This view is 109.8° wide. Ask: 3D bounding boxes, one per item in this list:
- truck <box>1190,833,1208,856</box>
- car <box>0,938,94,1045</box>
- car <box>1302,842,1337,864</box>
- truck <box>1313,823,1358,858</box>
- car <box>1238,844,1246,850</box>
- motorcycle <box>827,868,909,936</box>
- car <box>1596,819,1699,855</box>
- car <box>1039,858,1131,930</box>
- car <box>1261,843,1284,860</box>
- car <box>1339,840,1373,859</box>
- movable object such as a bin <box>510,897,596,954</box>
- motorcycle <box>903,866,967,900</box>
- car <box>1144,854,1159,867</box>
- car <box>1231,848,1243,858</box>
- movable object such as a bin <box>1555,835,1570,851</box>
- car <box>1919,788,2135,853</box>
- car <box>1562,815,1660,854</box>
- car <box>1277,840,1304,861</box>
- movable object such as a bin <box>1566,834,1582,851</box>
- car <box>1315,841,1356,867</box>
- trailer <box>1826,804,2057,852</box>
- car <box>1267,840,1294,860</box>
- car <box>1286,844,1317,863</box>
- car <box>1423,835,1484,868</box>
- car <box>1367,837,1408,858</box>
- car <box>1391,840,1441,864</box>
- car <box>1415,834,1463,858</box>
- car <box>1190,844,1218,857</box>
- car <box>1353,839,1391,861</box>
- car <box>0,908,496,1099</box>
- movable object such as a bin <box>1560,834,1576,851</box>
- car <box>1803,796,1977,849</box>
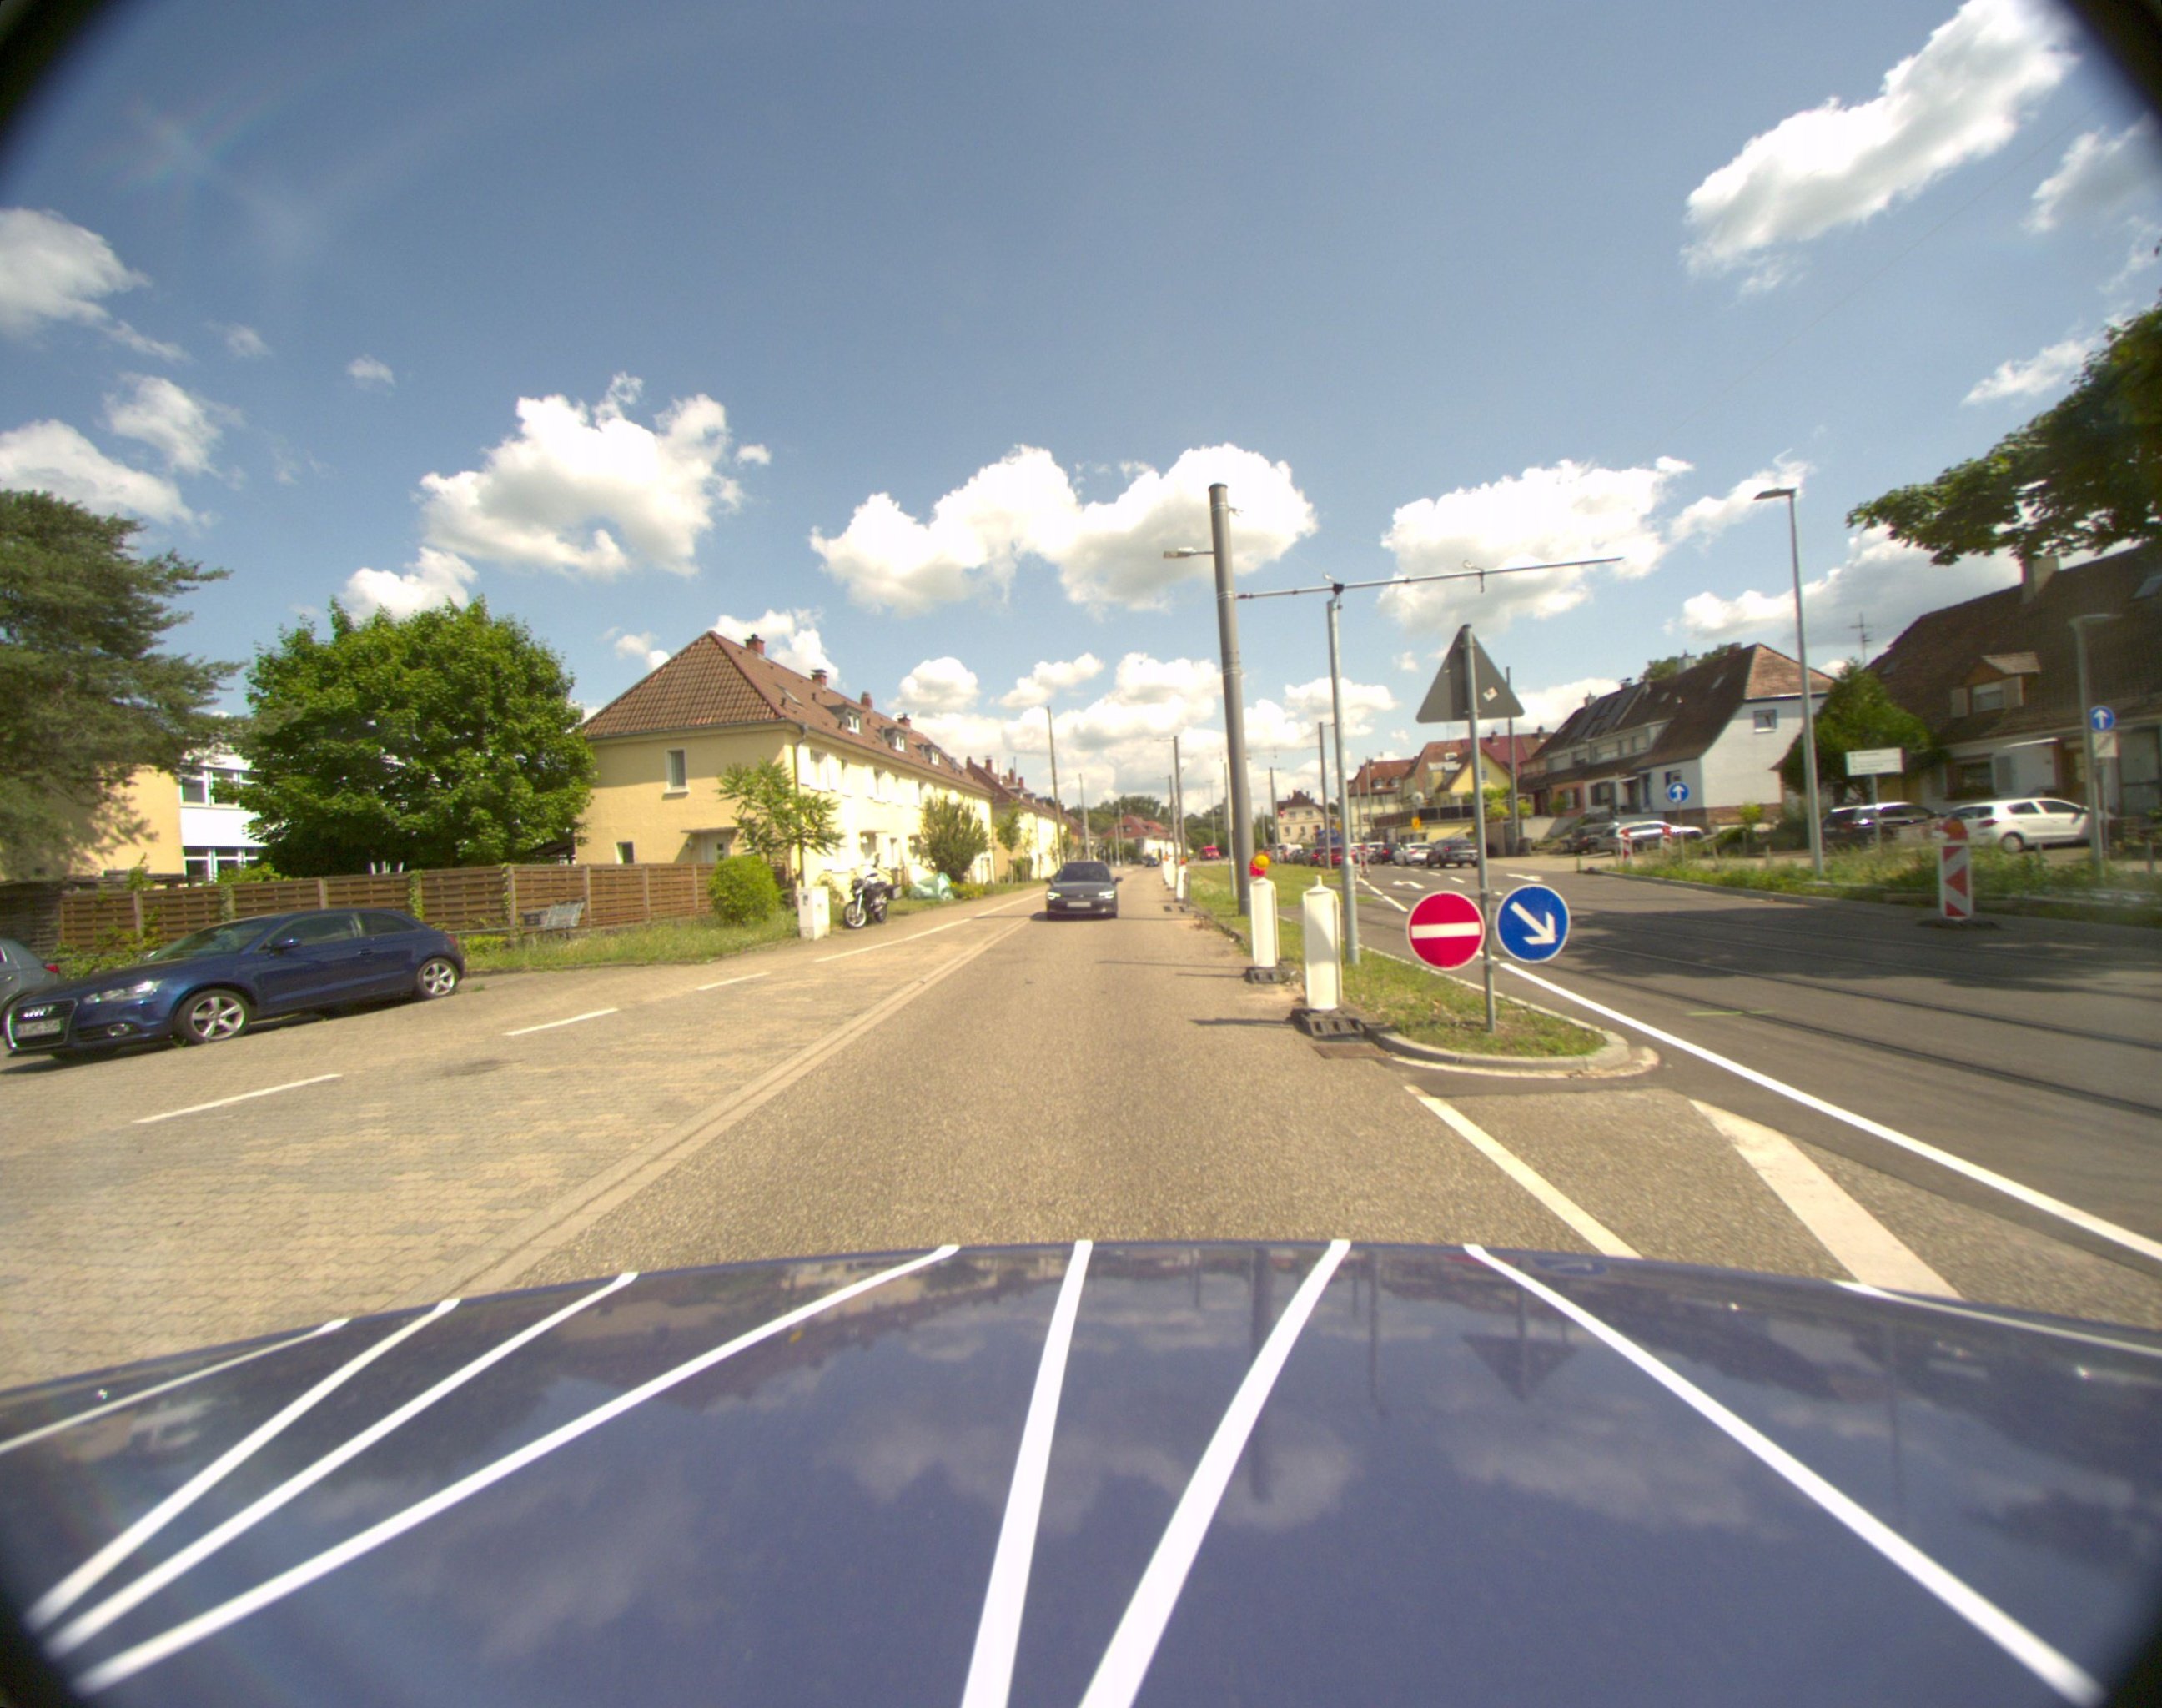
[{"bbox_3d":[28.652,-2.243,183.721,3.474,5.153,14.228,-4,0,11],"label":"truck"},{"bbox_3d":[-15.778,1.978,9.543,1.564,1.389,3.934,-4,-1,0],"label":"car"},{"bbox_3d":[18.472,-0.078,59.110,1.729,1.553,4.646,-4,0,7],"label":"car"},{"bbox_3d":[25.181,-1.289,75.564,2.841,3.135,7.939,-4,0,9],"label":"truck"},{"bbox_3d":[47.041,-2.075,222.075,1.720,1.582,4.175,-4,0,9],"label":"car"},{"bbox_3d":[-5.158,1.124,18.607,1.049,1.462,2.586,-1,0,5],"label":"motorcycle"},{"bbox_3d":[28.937,-0.853,38.865,3.887,1.546,1.682,-4,0,3],"label":"car"},{"bbox_3d":[0.231,0.911,19.427,1.741,1.513,4.704,-2,0,7],"label":"car"},{"bbox_3d":[21.835,-0.325,86.726,1.922,1.770,4.543,-4,0,6],"label":"car"},{"bbox_3d":[24.250,-0.408,67.066,1.729,1.553,4.543,-4,0,6],"label":"car"},{"bbox_3d":[-10.080,1.352,14.553,0.571,0.930,1.288,-4,0,9],"label":"movable object such as a bin"},{"bbox_3d":[-5.782,1.139,30.132,2.232,1.190,0.855,-4,0,8],"label":"motorcycle"},{"bbox_3d":[9.835,0.866,106.145,1.879,1.543,4.987,-4,0,5],"label":"car"},{"bbox_3d":[35.047,-0.225,170.771,2.282,1.861,4.990,-4,0,14],"label":"car"},{"bbox_3d":[28.400,-0.642,44.827,0.517,0.947,0.583,-4,0,5],"label":"movable object such as a bin"},{"bbox_3d":[26.806,-0.916,21.624,3.960,1.535,1.760,-4,0,-1],"label":"car"},{"bbox_3d":[29.081,-1.066,41.812,3.996,1.835,1.803,-4,0,3],"label":"car"},{"bbox_3d":[20.095,-0.300,73.012,1.729,1.843,4.543,-4,0,6],"label":"car"},{"bbox_3d":[28.285,-0.638,43.601,0.517,0.947,0.610,-4,0,5],"label":"movable object such as a bin"},{"bbox_3d":[17.393,-0.023,52.078,1.729,1.553,4.544,-4,0,7],"label":"car"},{"bbox_3d":[27.257,-0.796,24.215,4.932,1.118,1.961,-4,0,3],"label":"trailer"},{"bbox_3d":[21.110,-0.419,80.522,1.922,1.953,4.543,-4,0,6],"label":"car"},{"bbox_3d":[19.194,-0.067,66.333,1.729,1.553,4.543,-4,0,6],"label":"car"},{"bbox_3d":[19.731,-0.156,40.473,1.728,1.518,4.774,-4,0,12],"label":"car"},{"bbox_3d":[21.856,-0.465,54.368,1.728,1.327,4.544,-4,0,9],"label":"car"},{"bbox_3d":[20.792,-0.157,47.354,1.728,1.327,4.544,-4,0,9],"label":"car"},{"bbox_3d":[25.702,-0.573,54.742,1.729,1.553,4.544,-4,0,7],"label":"car"},{"bbox_3d":[20.719,-0.615,127.854,2.288,1.861,4.977,-4,0,-21],"label":"car"},{"bbox_3d":[23.175,-0.330,60.686,1.729,1.553,4.544,-4,0,7],"label":"car"},{"bbox_3d":[-9.775,1.571,9.212,1.643,1.372,4.289,-4,0,6],"label":"car"},{"bbox_3d":[28.347,-0.643,44.245,0.517,0.947,0.583,-4,0,5],"label":"movable object such as a bin"},{"bbox_3d":[27.909,-1.058,26.335,3.891,1.535,1.707,-4,0,7],"label":"car"}]
